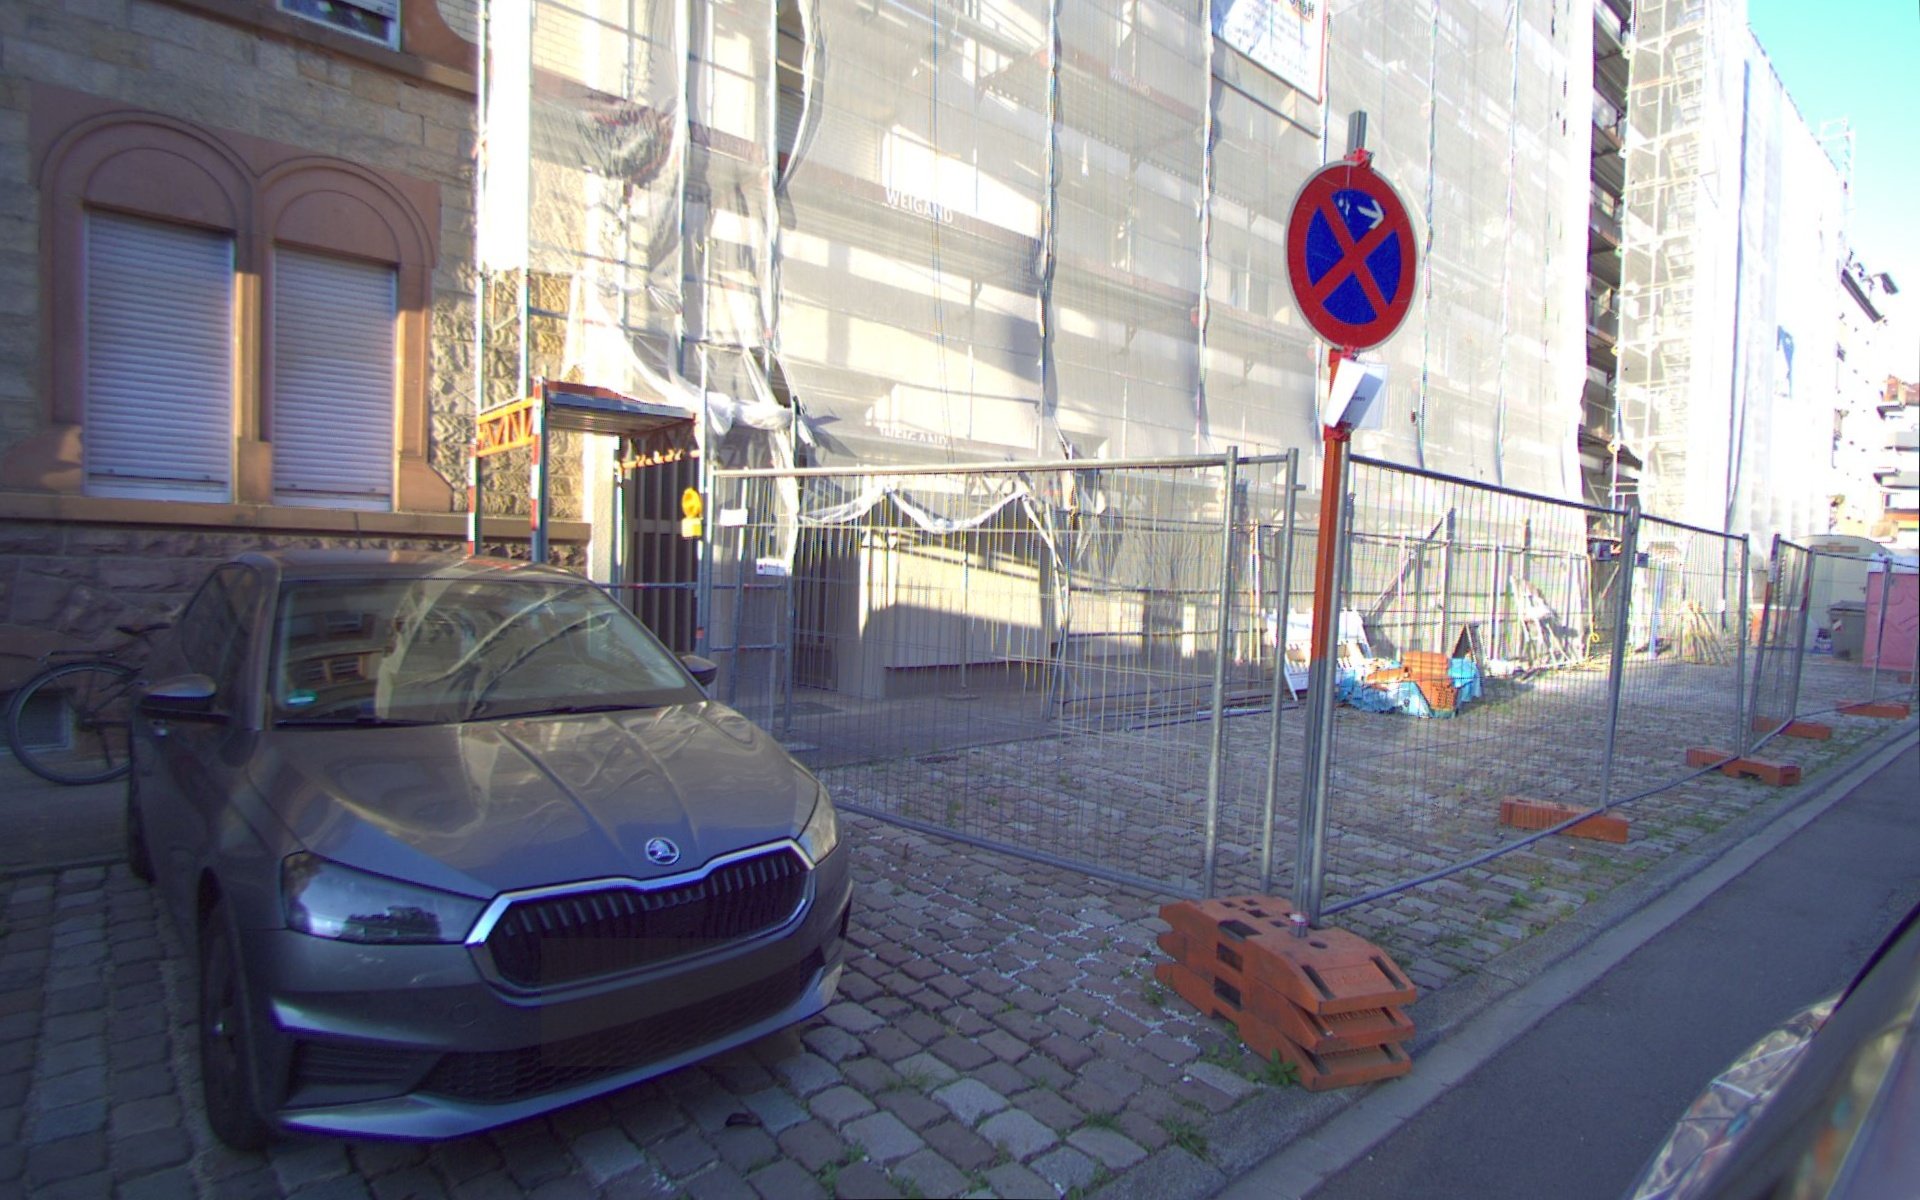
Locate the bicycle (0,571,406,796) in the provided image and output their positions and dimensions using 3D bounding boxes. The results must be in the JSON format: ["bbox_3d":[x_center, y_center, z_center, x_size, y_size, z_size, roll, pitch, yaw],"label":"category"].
[{"bbox_3d":[-4.619,0.430,6.249,0.630,1.183,2.003,1,1,43],"label":"bicycle"}]

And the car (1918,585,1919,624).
[{"bbox_3d":[45.183,0.275,44.709,1.966,1.749,3.993,-1,3,-42],"label":"car"}]

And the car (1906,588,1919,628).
[{"bbox_3d":[41.781,0.402,41.692,1.871,1.658,3.992,0,2,-43],"label":"car"}]

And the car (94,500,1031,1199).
[{"bbox_3d":[-1.901,0.459,3.947,1.987,1.533,3.992,0,5,-44],"label":"car"}]

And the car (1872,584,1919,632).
[{"bbox_3d":[34.547,0.334,35.040,1.838,1.635,4.164,0,2,-39],"label":"car"}]
